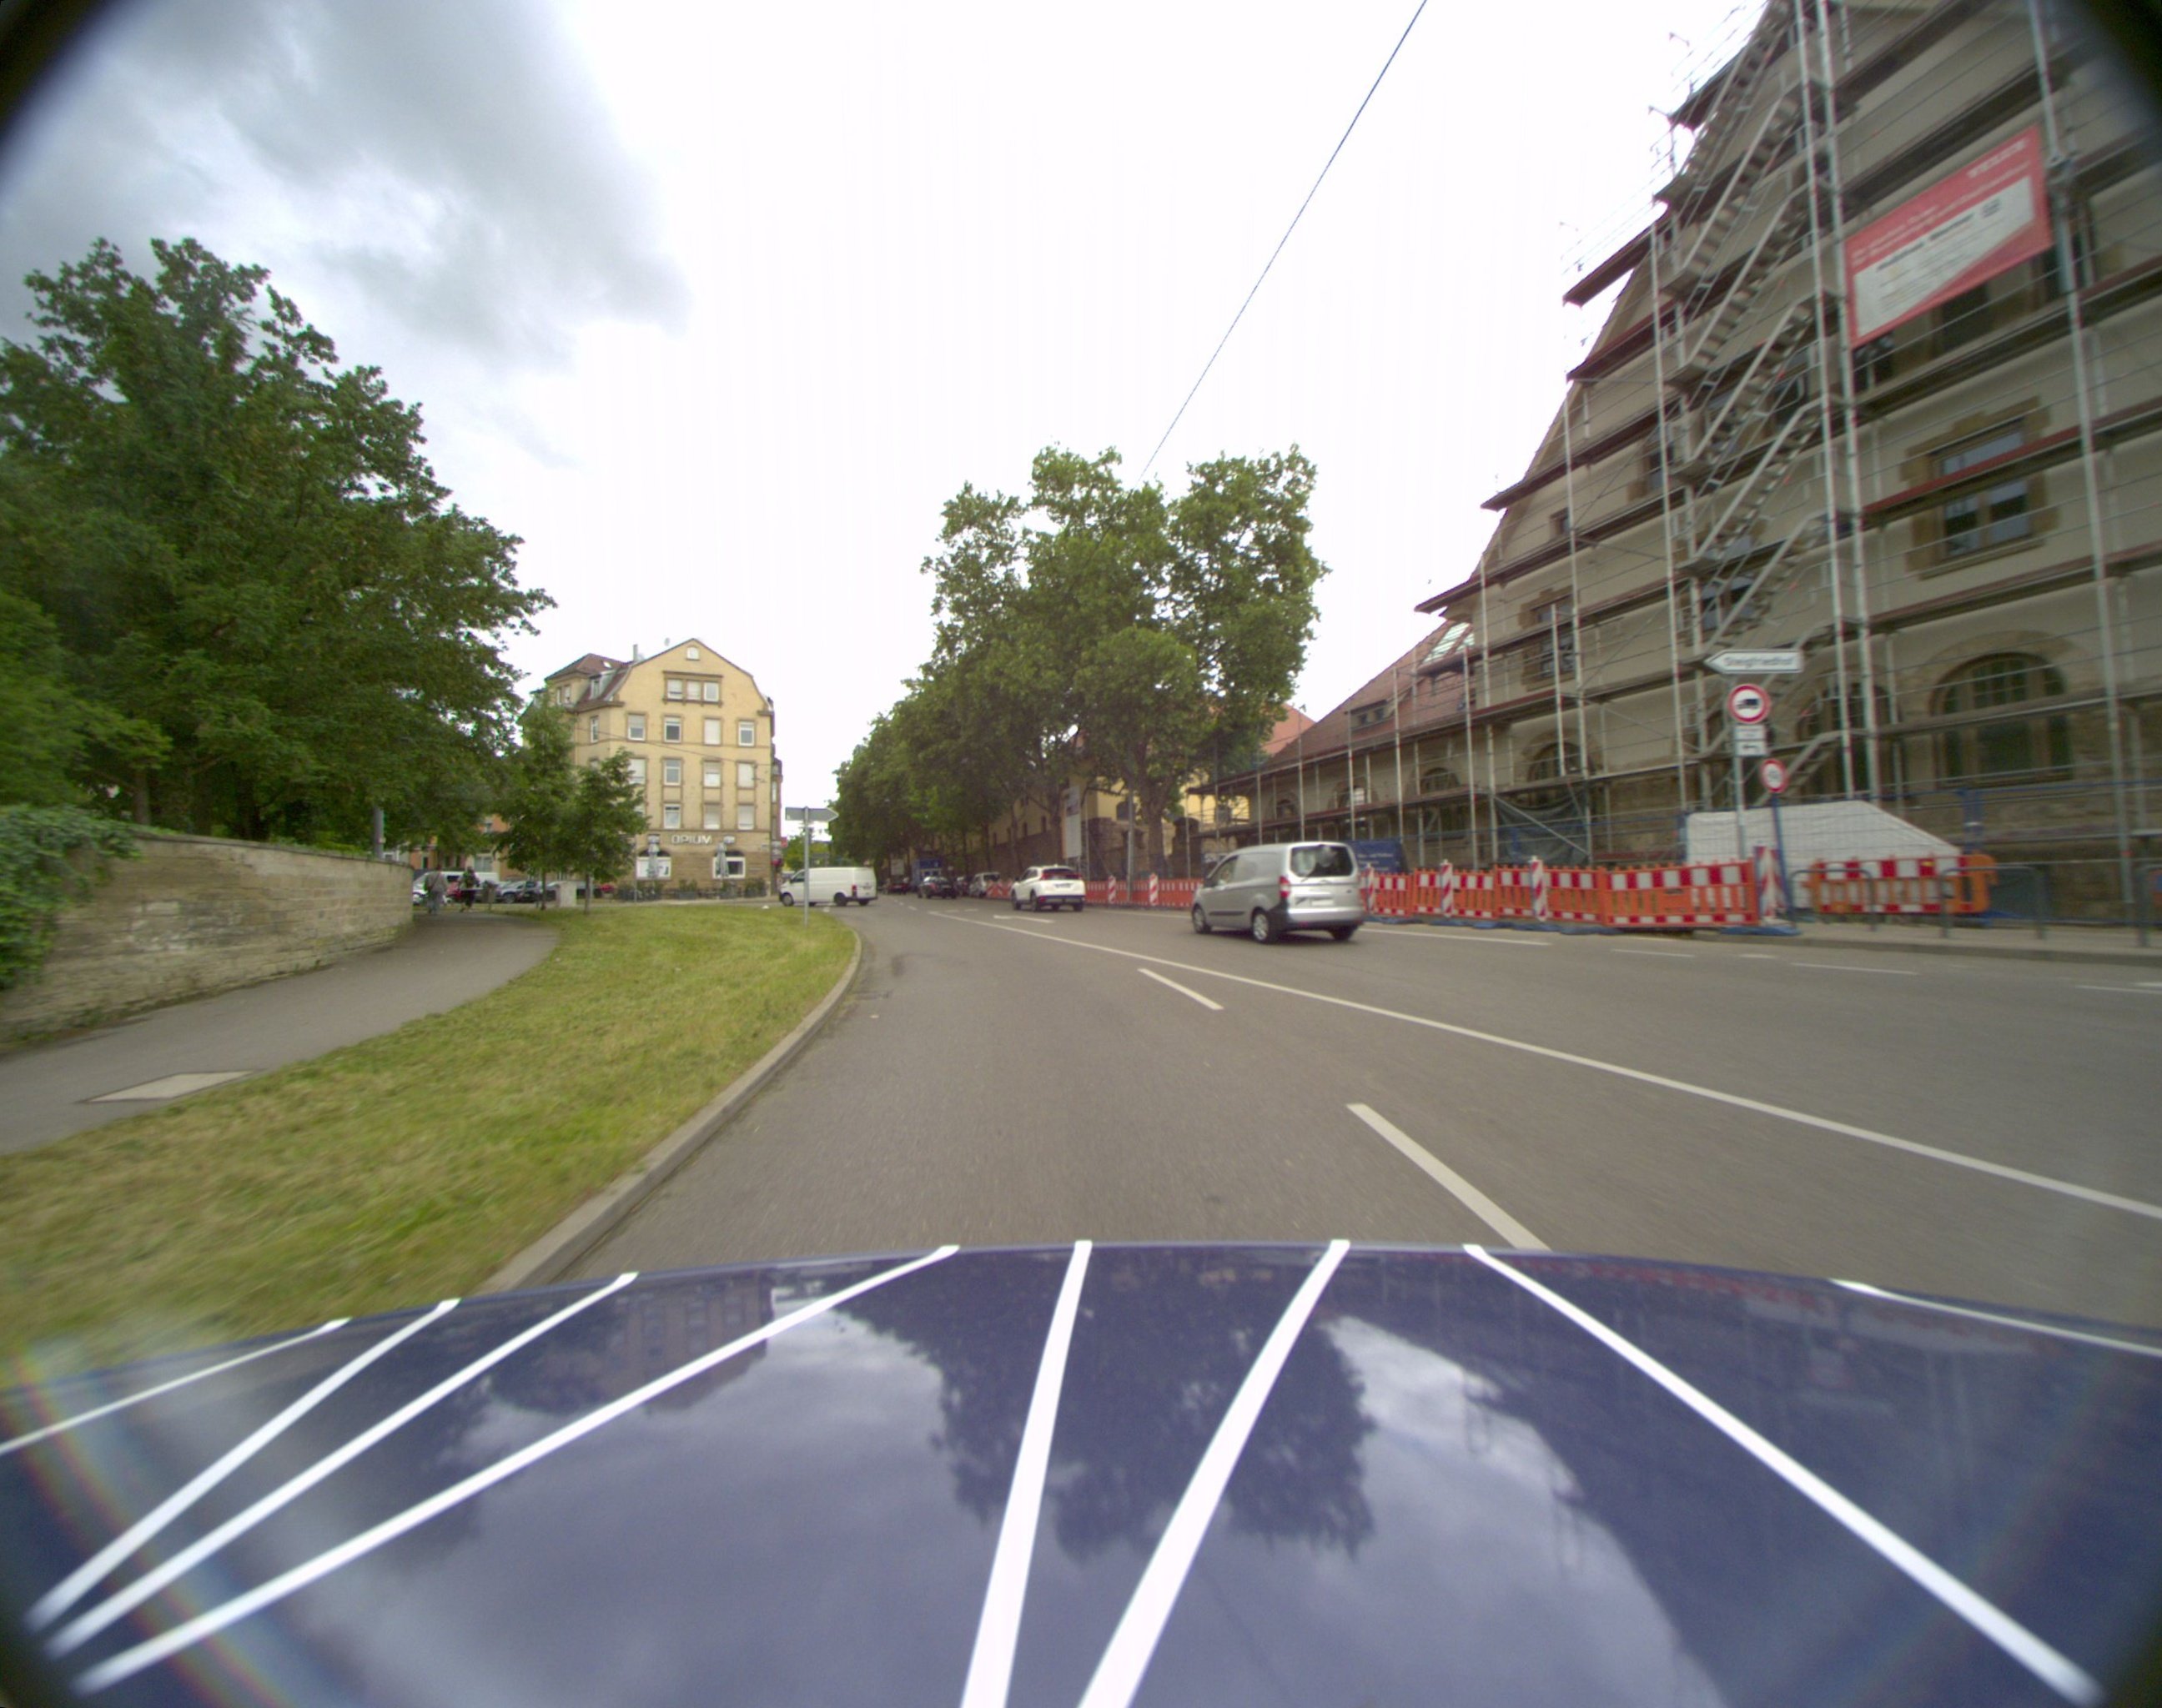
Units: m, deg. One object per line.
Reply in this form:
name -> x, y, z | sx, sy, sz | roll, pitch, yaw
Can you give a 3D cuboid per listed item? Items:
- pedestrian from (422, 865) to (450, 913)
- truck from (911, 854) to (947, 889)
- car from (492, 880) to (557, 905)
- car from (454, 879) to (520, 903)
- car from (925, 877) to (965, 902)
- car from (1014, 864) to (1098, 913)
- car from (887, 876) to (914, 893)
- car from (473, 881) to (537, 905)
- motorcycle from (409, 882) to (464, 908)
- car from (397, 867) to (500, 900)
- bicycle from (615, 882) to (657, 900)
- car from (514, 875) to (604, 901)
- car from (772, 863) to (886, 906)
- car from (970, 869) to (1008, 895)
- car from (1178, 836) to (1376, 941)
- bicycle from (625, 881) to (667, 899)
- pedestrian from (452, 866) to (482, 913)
pedestrian -> -21.577, 1.183, 25.414 | 0.573, 1.575, 0.583 | -1, -3, 41
truck -> -15.745, 1.817, 78.489 | 2.224, 3.396, 7.235 | -3, 0, -22
car -> -37.582, 2.607, 51.393 | 1.546, 1.527, 3.164 | -2, -1, 18
car -> -41.939, 2.613, 53.686 | 1.545, 1.428, 3.300 | -2, 0, 21
car -> -8.964, 2.279, 49.766 | 1.809, 1.463, 4.842 | -2, 0, -19
car -> -1.009, 1.194, 27.342 | 1.799, 1.601, 4.502 | -1, -1, -18
car -> -15.828, 2.672, 66.543 | 1.707, 1.417, 4.242 | 0, -1, -21
car -> -39.691, 2.649, 52.393 | 1.470, 1.393, 3.182 | -2, 0, 19
motorcycle -> -32.549, 2.073, 38.386 | 2.001, 1.163, 0.560 | -3, 1, -24
car -> -46.619, 2.141, 56.136 | 1.995, 2.278, 5.509 | -1, -1, 29
bicycle -> -27.042, 2.257, 46.208 | 2.186, 1.059, 0.601 | 0, -1, -3
car -> -33.520, 2.148, 48.928 | 1.995, 1.586, 4.381 | -1, -1, 28
car -> -12.738, 1.528, 38.378 | 5.228, 1.920, 2.215 | -3, 0, 23
car -> -6.882, 2.032, 56.406 | 1.842, 1.865, 4.409 | 0, -1, -21
car -> 3.443, 0.567, 14.191 | 1.699, 1.604, 4.078 | -3, 0, -16
bicycle -> -27.026, 2.240, 47.218 | 2.186, 1.059, 0.601 | 0, -1, -3
pedestrian -> -22.816, 1.309, 28.248 | 0.659, 1.724, 0.714 | -2, -2, 36
